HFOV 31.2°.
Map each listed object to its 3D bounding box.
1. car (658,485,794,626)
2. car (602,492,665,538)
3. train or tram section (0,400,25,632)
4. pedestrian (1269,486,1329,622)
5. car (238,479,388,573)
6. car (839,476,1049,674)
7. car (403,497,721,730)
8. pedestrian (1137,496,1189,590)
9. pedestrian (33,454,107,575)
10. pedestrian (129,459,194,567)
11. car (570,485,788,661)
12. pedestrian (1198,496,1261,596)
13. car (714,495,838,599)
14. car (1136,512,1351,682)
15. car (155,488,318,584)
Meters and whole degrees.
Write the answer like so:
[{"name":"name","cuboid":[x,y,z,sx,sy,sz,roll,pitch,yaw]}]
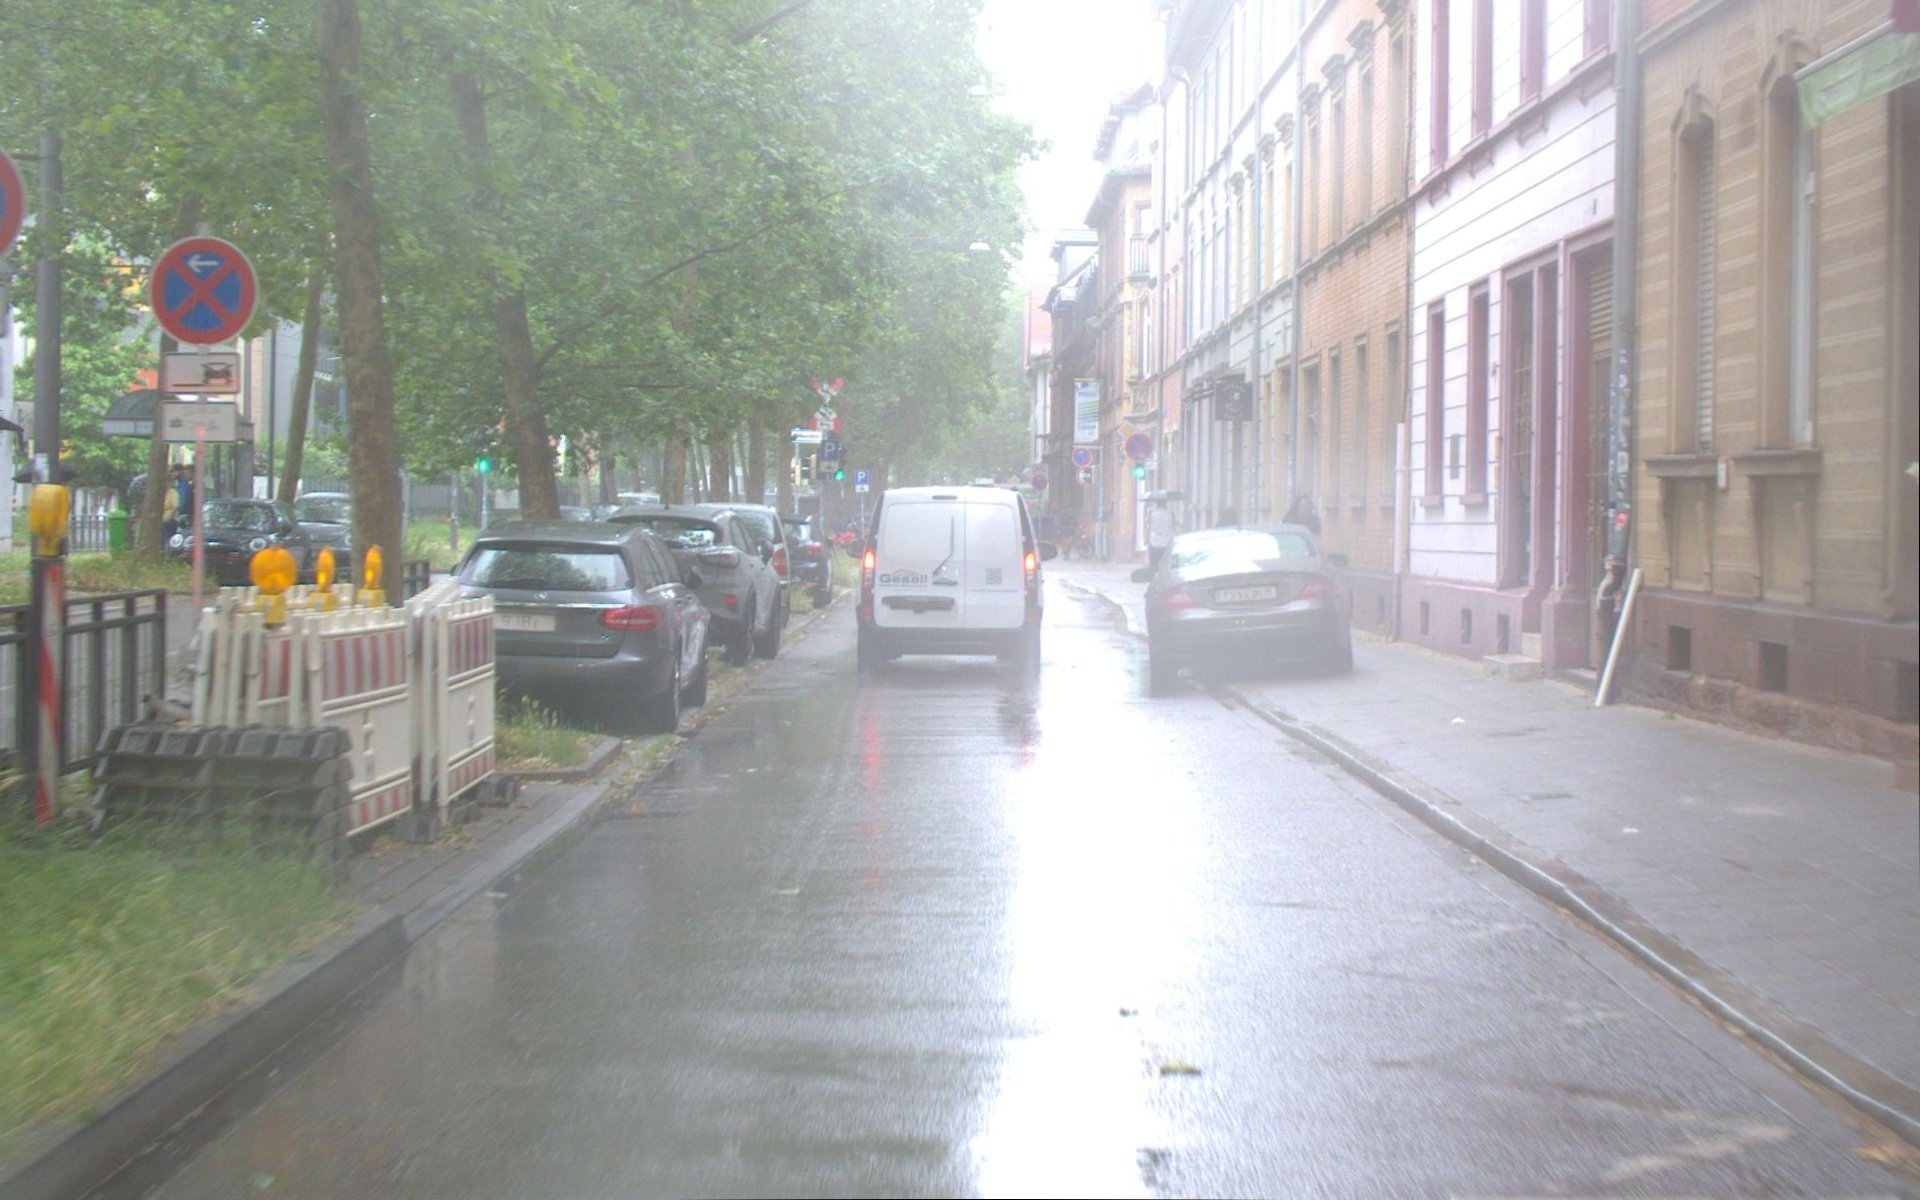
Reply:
[{"name":"car","cuboid":[-2.991,-0.608,44.421,1.623,1.676,3.660,2,2,-3]},{"name":"car","cuboid":[-11.879,-3.097,124.932,1.993,1.575,4.001,1,2,-9]},{"name":"train or tram section","cuboid":[-16.155,-1.292,46.560,3.106,3.546,14.676,1,0,-1]},{"name":"pedestrian","cuboid":[4.239,-0.578,43.052,0.638,1.679,0.603,-2,1,-1]},{"name":"car","cuboid":[-11.723,-1.367,62.495,1.993,1.607,4.001,1,2,-1]},{"name":"car","cuboid":[-0.130,-0.239,33.809,1.903,1.791,4.113,1,0,1]},{"name":"car","cuboid":[-2.843,0.044,25.500,1.828,1.498,4.614,2,1,-1]},{"name":"pedestrian","cuboid":[3.779,-1.064,64.139,0.840,1.710,1.108,-2,2,1]},{"name":"pedestrian","cuboid":[-12.692,-1.218,49.043,0.818,1.698,0.872,1,1,-1]},{"name":"pedestrian","cuboid":[-12.760,-1.391,54.941,0.818,1.698,0.872,1,1,-1]},{"name":"car","cuboid":[-2.753,-0.300,34.497,1.698,1.630,4.355,1,1,2]},{"name":"pedestrian","cuboid":[4.152,-0.841,52.998,0.840,1.506,1.108,-2,2,1]},{"name":"car","cuboid":[-2.838,-0.839,53.705,1.649,1.495,4.119,3,1,0]},{"name":"car","cuboid":[2.605,-0.079,32.492,1.814,1.416,4.696,-2,1,3]},{"name":"car","cuboid":[-11.384,-1.031,54.303,1.738,1.338,3.756,4,2,-1]}]
